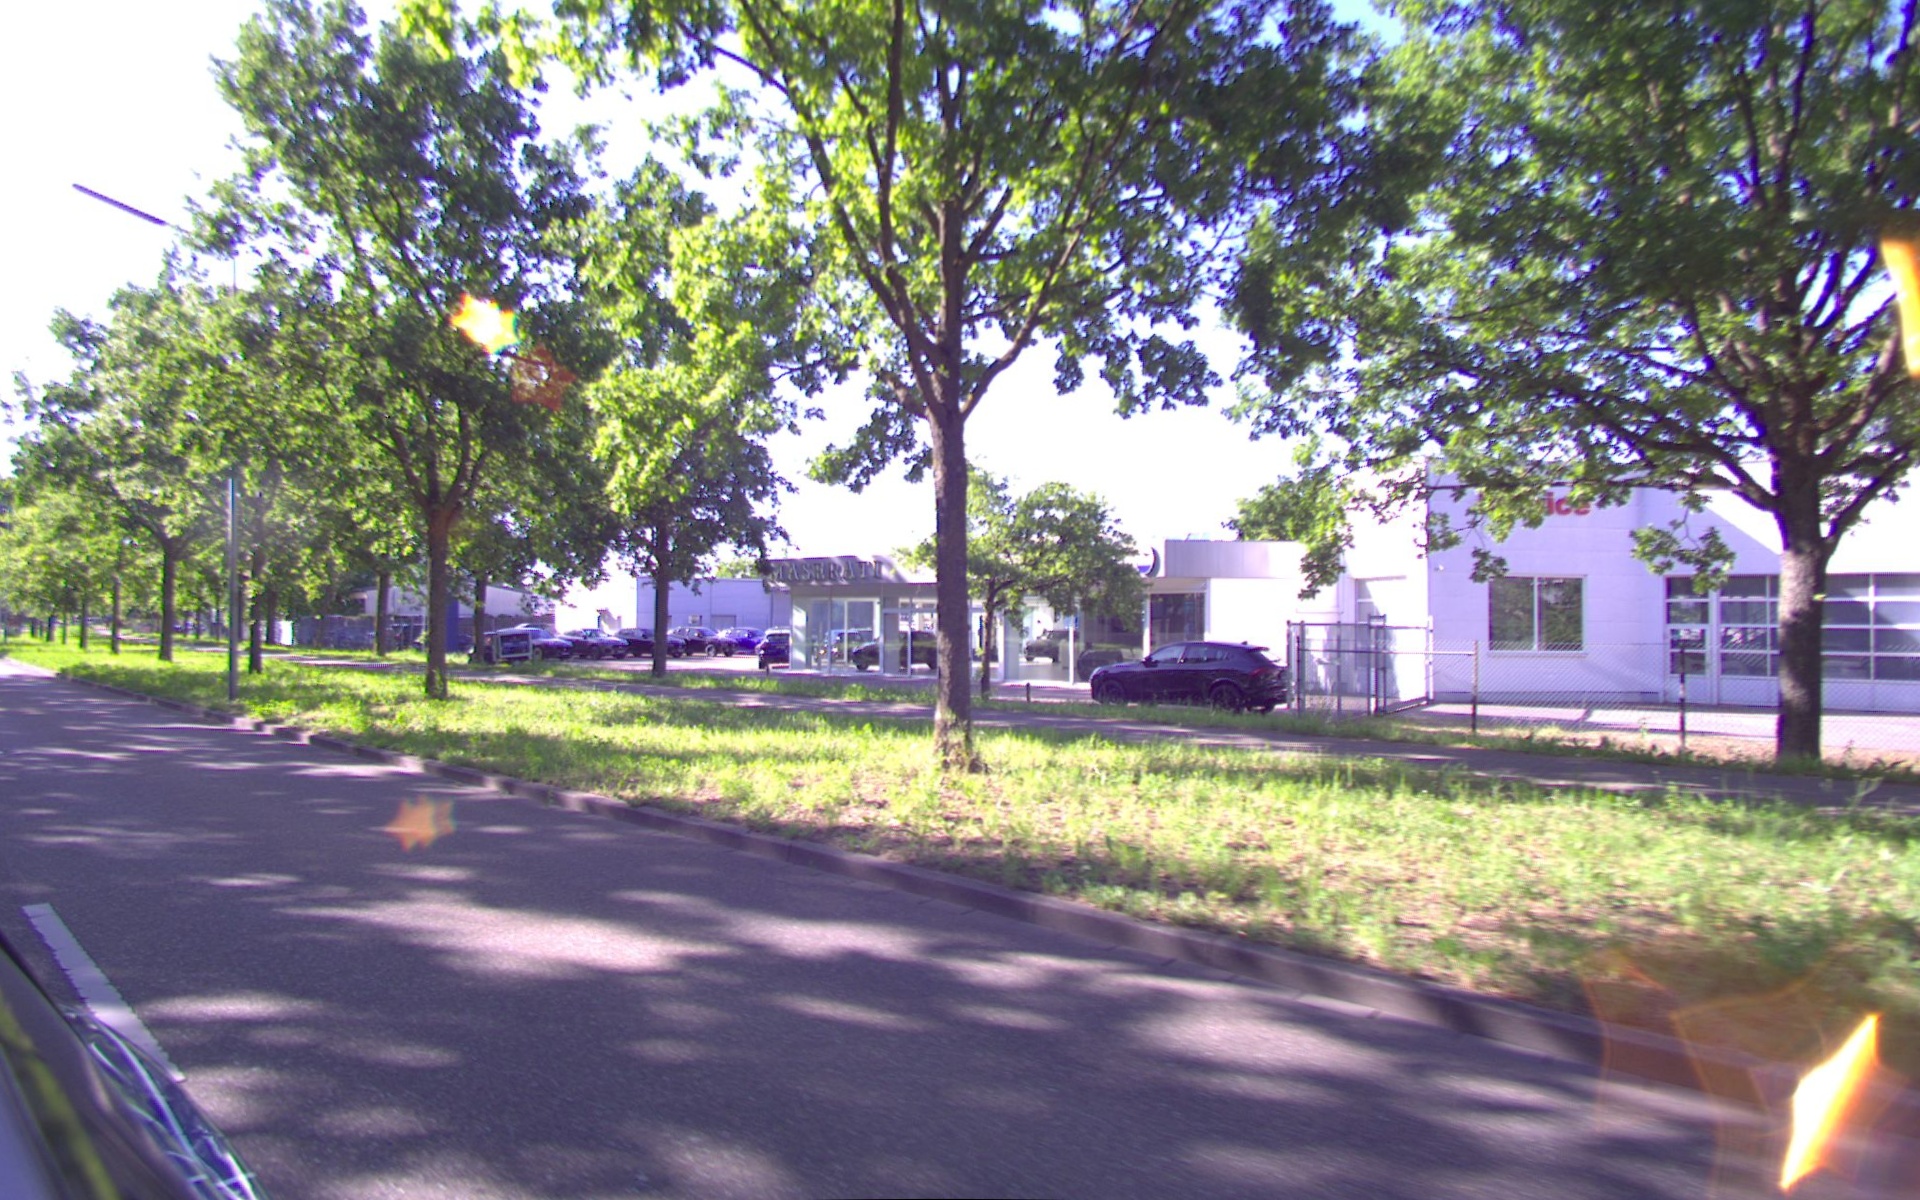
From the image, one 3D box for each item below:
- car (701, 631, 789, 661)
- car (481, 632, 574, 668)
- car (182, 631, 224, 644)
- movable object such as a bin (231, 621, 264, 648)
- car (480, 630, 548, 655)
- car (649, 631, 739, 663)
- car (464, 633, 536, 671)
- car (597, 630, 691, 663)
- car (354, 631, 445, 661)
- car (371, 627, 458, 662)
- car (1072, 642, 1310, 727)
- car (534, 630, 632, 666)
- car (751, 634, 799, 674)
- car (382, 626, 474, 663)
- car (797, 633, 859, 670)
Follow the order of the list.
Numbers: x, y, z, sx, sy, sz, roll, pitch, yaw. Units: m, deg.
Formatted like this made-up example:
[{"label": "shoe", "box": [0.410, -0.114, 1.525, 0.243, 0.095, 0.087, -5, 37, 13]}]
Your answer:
[{"label": "car", "box": [-12.969, 2.718, 60.895, 5.240, 1.673, 1.979, -1, 0, 31]}, {"label": "car", "box": [-22.053, 2.523, 51.614, 4.477, 1.688, 1.982, -1, 0, 27]}, {"label": "car", "box": [-95.732, 4.762, 127.993, 3.826, 1.513, 2.007, -1, 0, -24]}, {"label": "movable object such as a bin", "box": [-68.741, 3.289, 97.628, 1.970, 2.535, 4.240, -1, 0, -43]}, {"label": "car", "box": [-30.716, 2.879, 69.767, 3.941, 1.530, 1.752, -1, 0, -45]}, {"label": "car", "box": [-15.446, 2.692, 58.692, 5.240, 1.673, 1.979, -1, 0, 31]}, {"label": "car", "box": [-18.739, 2.105, 41.218, 2.531, 1.481, 1.430, 1, -2, -31]}, {"label": "car", "box": [-17.582, 2.575, 56.256, 5.240, 1.702, 1.979, -1, 0, 31]}, {"label": "car", "box": [-32.334, 2.639, 58.461, 4.261, 1.530, 1.863, -1, 0, -45]}, {"label": "car", "box": [-30.442, 2.469, 56.517, 3.941, 1.759, 1.863, -1, 0, -45]}, {"label": "car", "box": [5.198, 1.839, 23.269, 5.013, 1.610, 1.973, -1, 0, 41]}, {"label": "car", "box": [-20.064, 2.517, 53.844, 5.236, 1.730, 1.981, -1, 0, 29]}, {"label": "car", "box": [-8.358, 2.403, 46.017, 1.968, 1.673, 5.269, -1, -2, -9]}, {"label": "car", "box": [-28.527, 2.340, 54.324, 3.940, 1.755, 2.002, -1, 0, -44]}, {"label": "car", "box": [-6.537, 2.482, 49.598, 1.965, 1.673, 5.025, -1, -2, -20]}]
